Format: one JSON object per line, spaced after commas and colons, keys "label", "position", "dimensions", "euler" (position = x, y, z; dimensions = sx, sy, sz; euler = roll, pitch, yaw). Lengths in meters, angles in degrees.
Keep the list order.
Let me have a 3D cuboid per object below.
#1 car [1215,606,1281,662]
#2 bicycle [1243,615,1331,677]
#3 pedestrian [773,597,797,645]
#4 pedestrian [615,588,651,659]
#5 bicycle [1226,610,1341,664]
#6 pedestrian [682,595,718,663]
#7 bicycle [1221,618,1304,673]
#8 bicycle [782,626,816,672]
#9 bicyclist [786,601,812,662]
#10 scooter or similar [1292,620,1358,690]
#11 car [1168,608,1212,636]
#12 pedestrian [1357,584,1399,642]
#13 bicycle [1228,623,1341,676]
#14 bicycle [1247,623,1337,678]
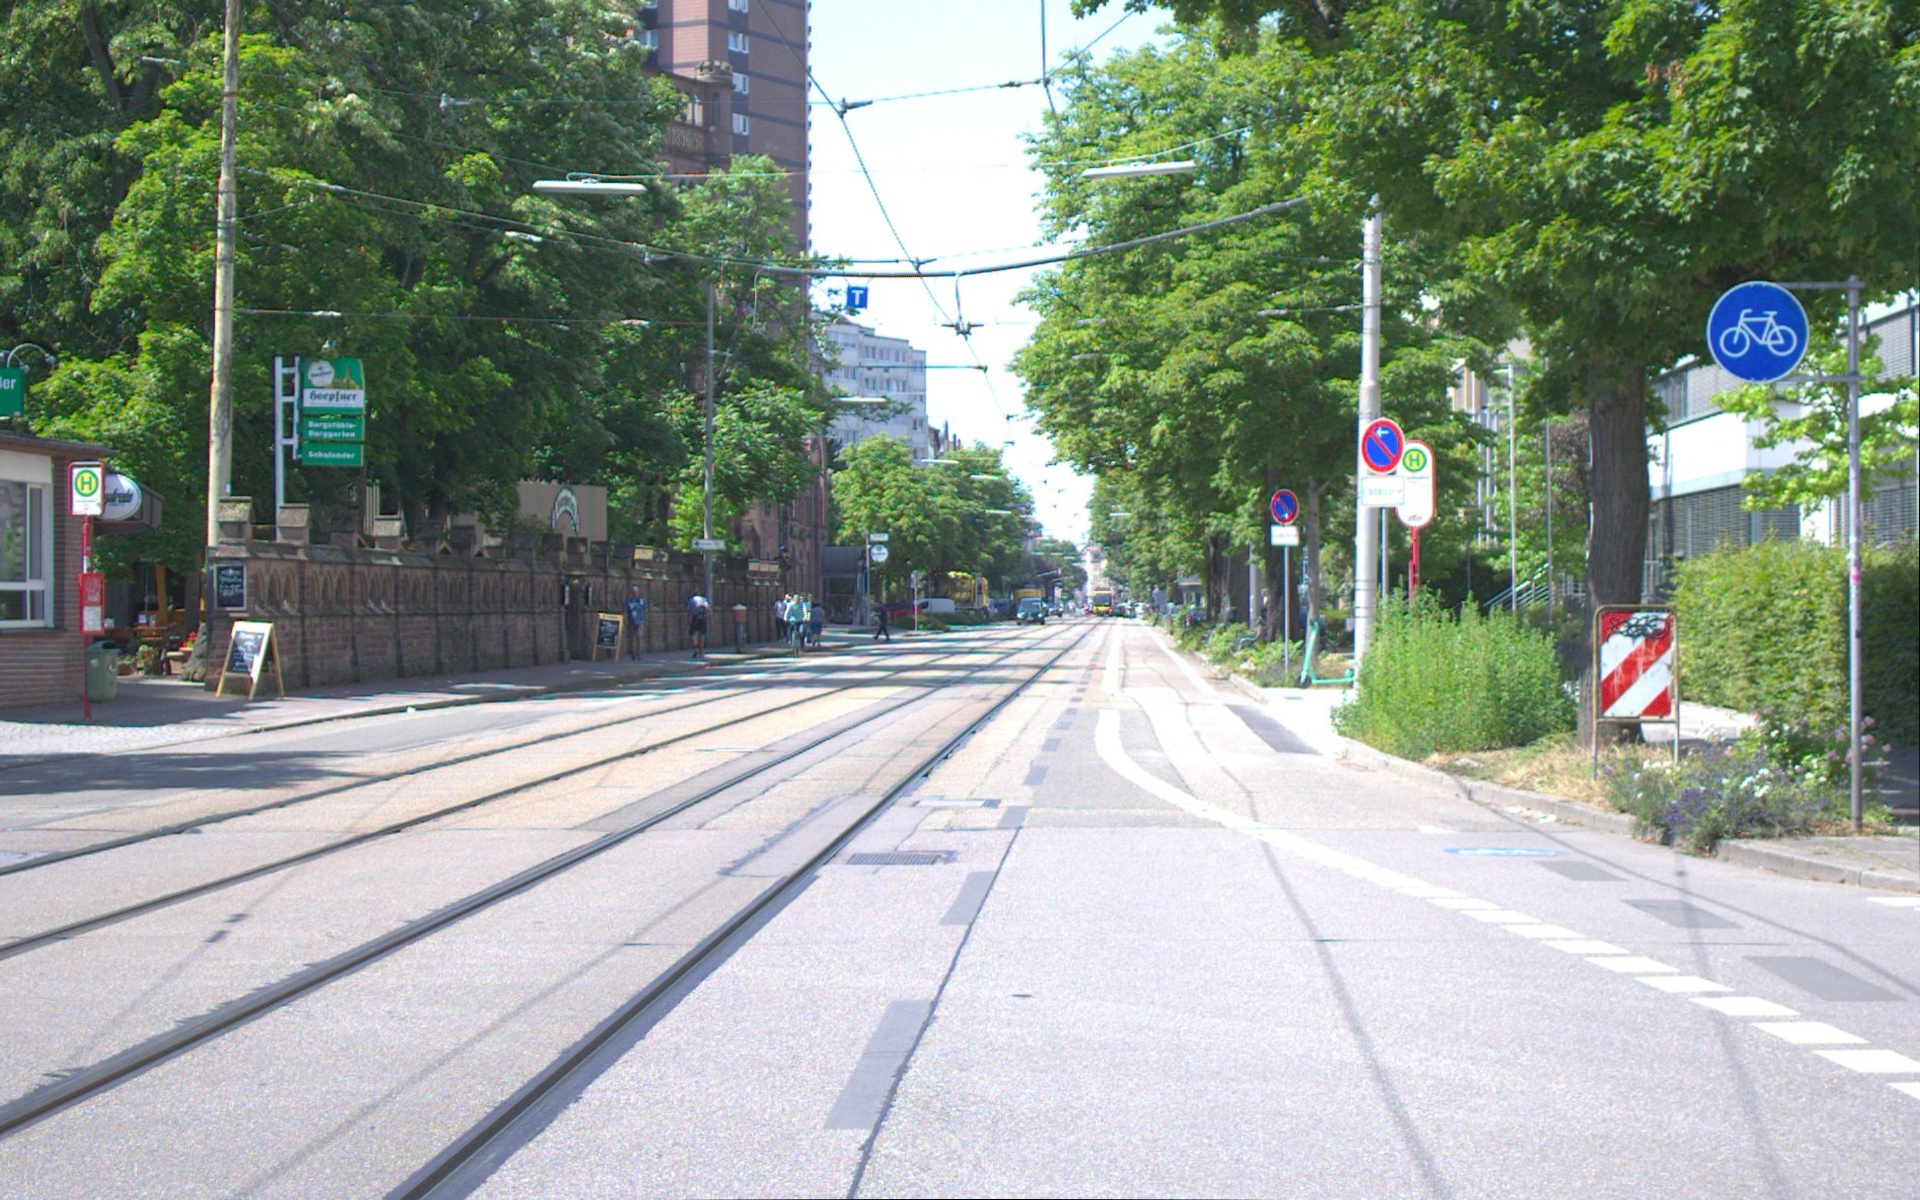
{"label": "car", "position": [7.847, 0.910, 93.870], "dimensions": [1.634, 1.496, 4.000], "euler": [0, 0, 3]}
{"label": "bicycle", "position": [6.758, 0.952, 71.096], "dimensions": [1.752, 1.266, 0.530], "euler": [0, 0, 0]}
{"label": "pedestrian", "position": [-6.305, 0.743, 123.880], "dimensions": [0.743, 1.722, 0.867], "euler": [0, 0, 3]}
{"label": "pedestrian", "position": [-8.010, 0.573, 84.303], "dimensions": [0.743, 1.722, 0.867], "euler": [0, 0, 3]}
{"label": "bicycle", "position": [7.156, 0.815, 76.045], "dimensions": [2.511, 1.205, 0.647], "euler": [0, 0, 7]}
{"label": "pedestrian", "position": [-6.782, 0.761, 89.801], "dimensions": [0.815, 1.764, 0.924], "euler": [0, 0, 3]}
{"label": "bicycle", "position": [6.573, 0.983, 74.687], "dimensions": [1.752, 1.162, 0.530], "euler": [0, 0, 0]}
{"label": "bicycle", "position": [-4.424, 1.342, 94.849], "dimensions": [0.701, 1.200, 2.240], "euler": [-2, 0, 2]}
{"label": "bicyclist", "position": [-4.438, 0.859, 94.903], "dimensions": [0.642, 1.674, 0.815], "euler": [0, 0, 2]}
{"label": "scooter or similar", "position": [6.166, 0.928, 58.078], "dimensions": [1.058, 1.152, 0.370], "euler": [-1, -1, 4]}
{"label": "car", "position": [10.995, 1.038, 164.650], "dimensions": [1.994, 1.306, 4.000], "euler": [0, 0, 3]}
{"label": "pedestrian", "position": [13.286, 0.406, 109.196], "dimensions": [1.215, 1.821, 0.831], "euler": [0, 0, 0]}
{"label": "bicycle", "position": [7.361, 1.119, 77.985], "dimensions": [2.511, 1.205, 0.741], "euler": [0, 0, 7]}
{"label": "bicycle", "position": [6.758, 1.027, 69.942], "dimensions": [1.788, 1.098, 0.532], "euler": [0, 0, 1]}
